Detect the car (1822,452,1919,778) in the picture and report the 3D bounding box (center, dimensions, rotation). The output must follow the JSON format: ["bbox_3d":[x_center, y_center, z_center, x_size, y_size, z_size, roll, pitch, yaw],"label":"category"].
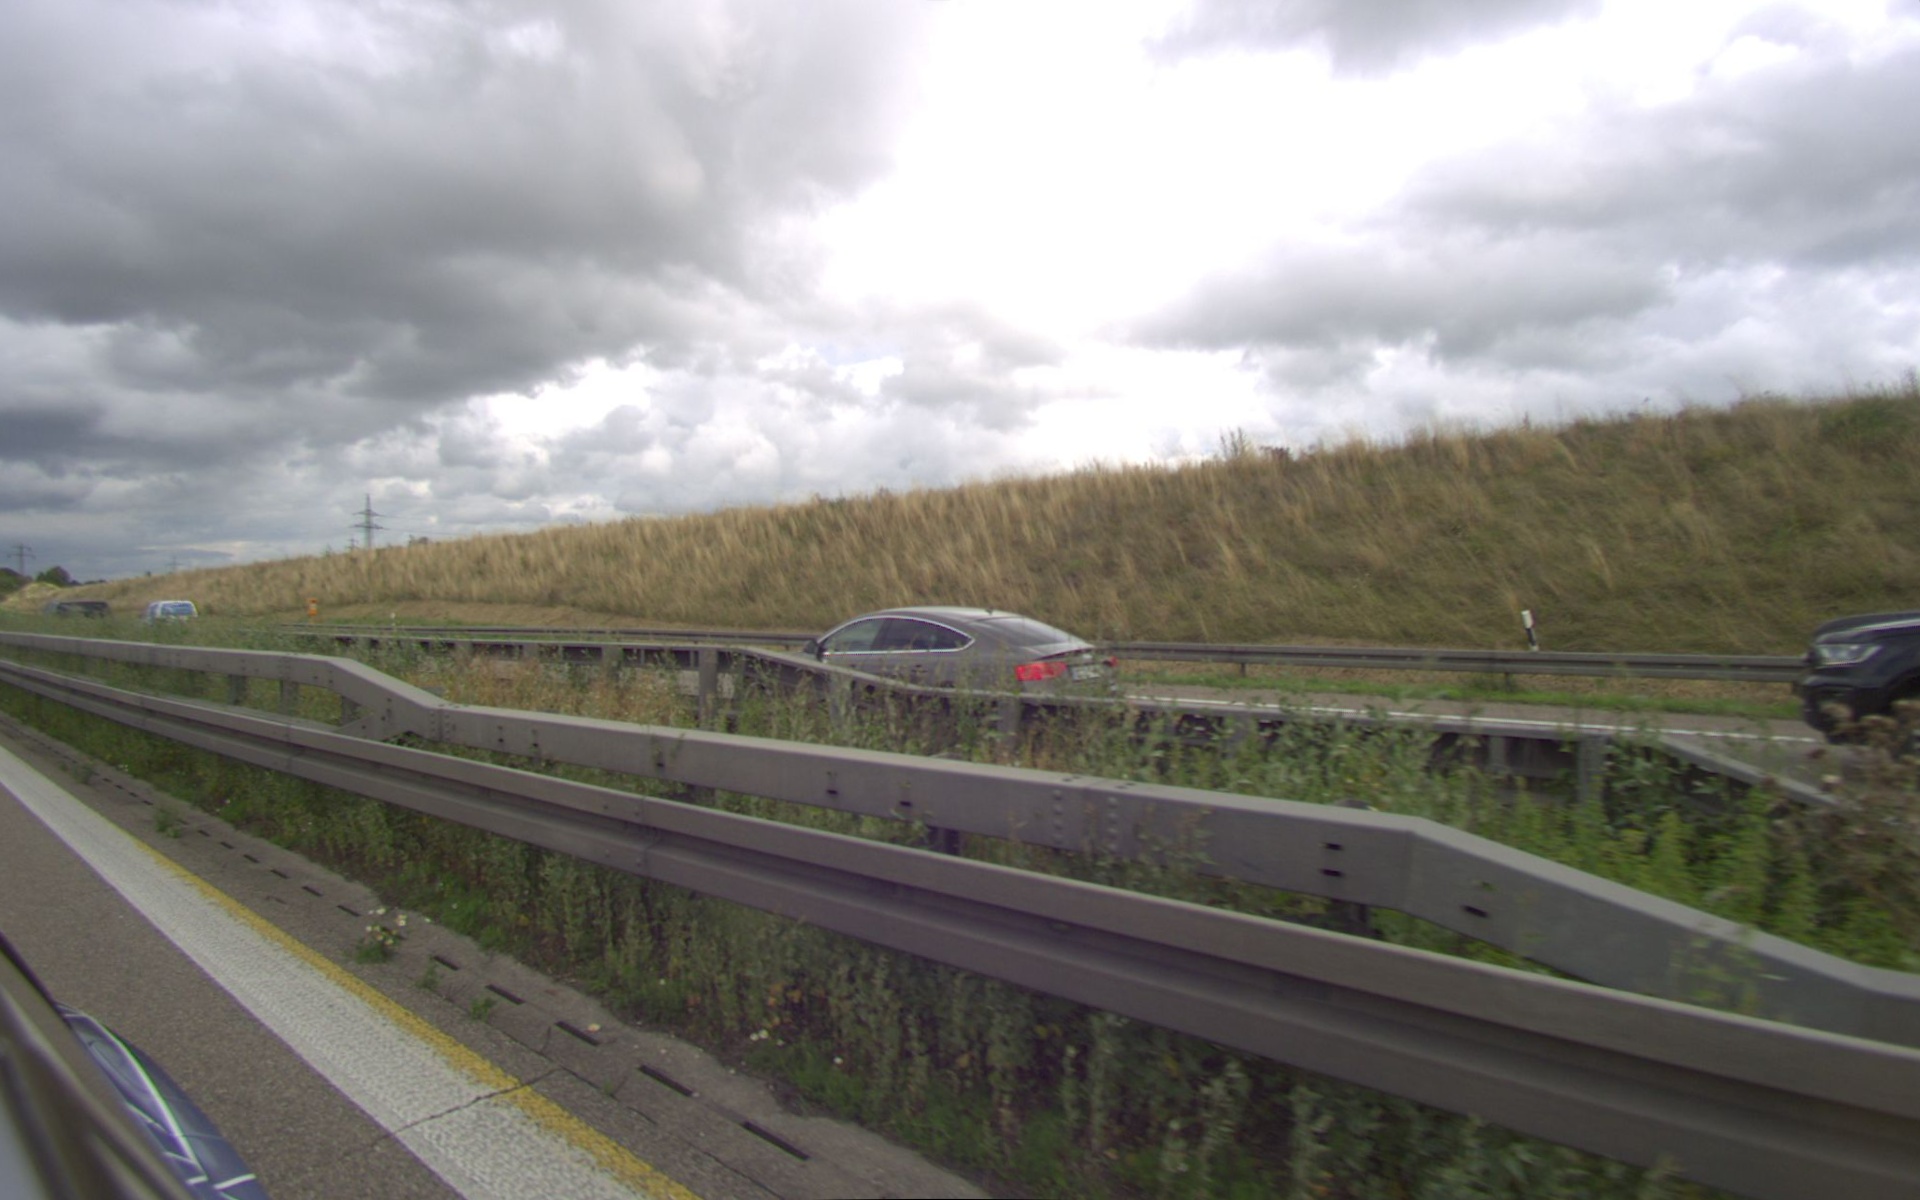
[{"bbox_3d":[9.042,0.089,6.201,5.716,2.259,1.973,0,1,41],"label":"car"}]

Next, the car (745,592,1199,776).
[{"bbox_3d":[-0.056,0.680,10.068,4.404,1.412,1.792,-1,1,41],"label":"car"}]

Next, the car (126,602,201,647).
[{"bbox_3d":[-37.766,1.148,47.946,4.706,2.029,1.973,-1,0,41],"label":"car"}]
